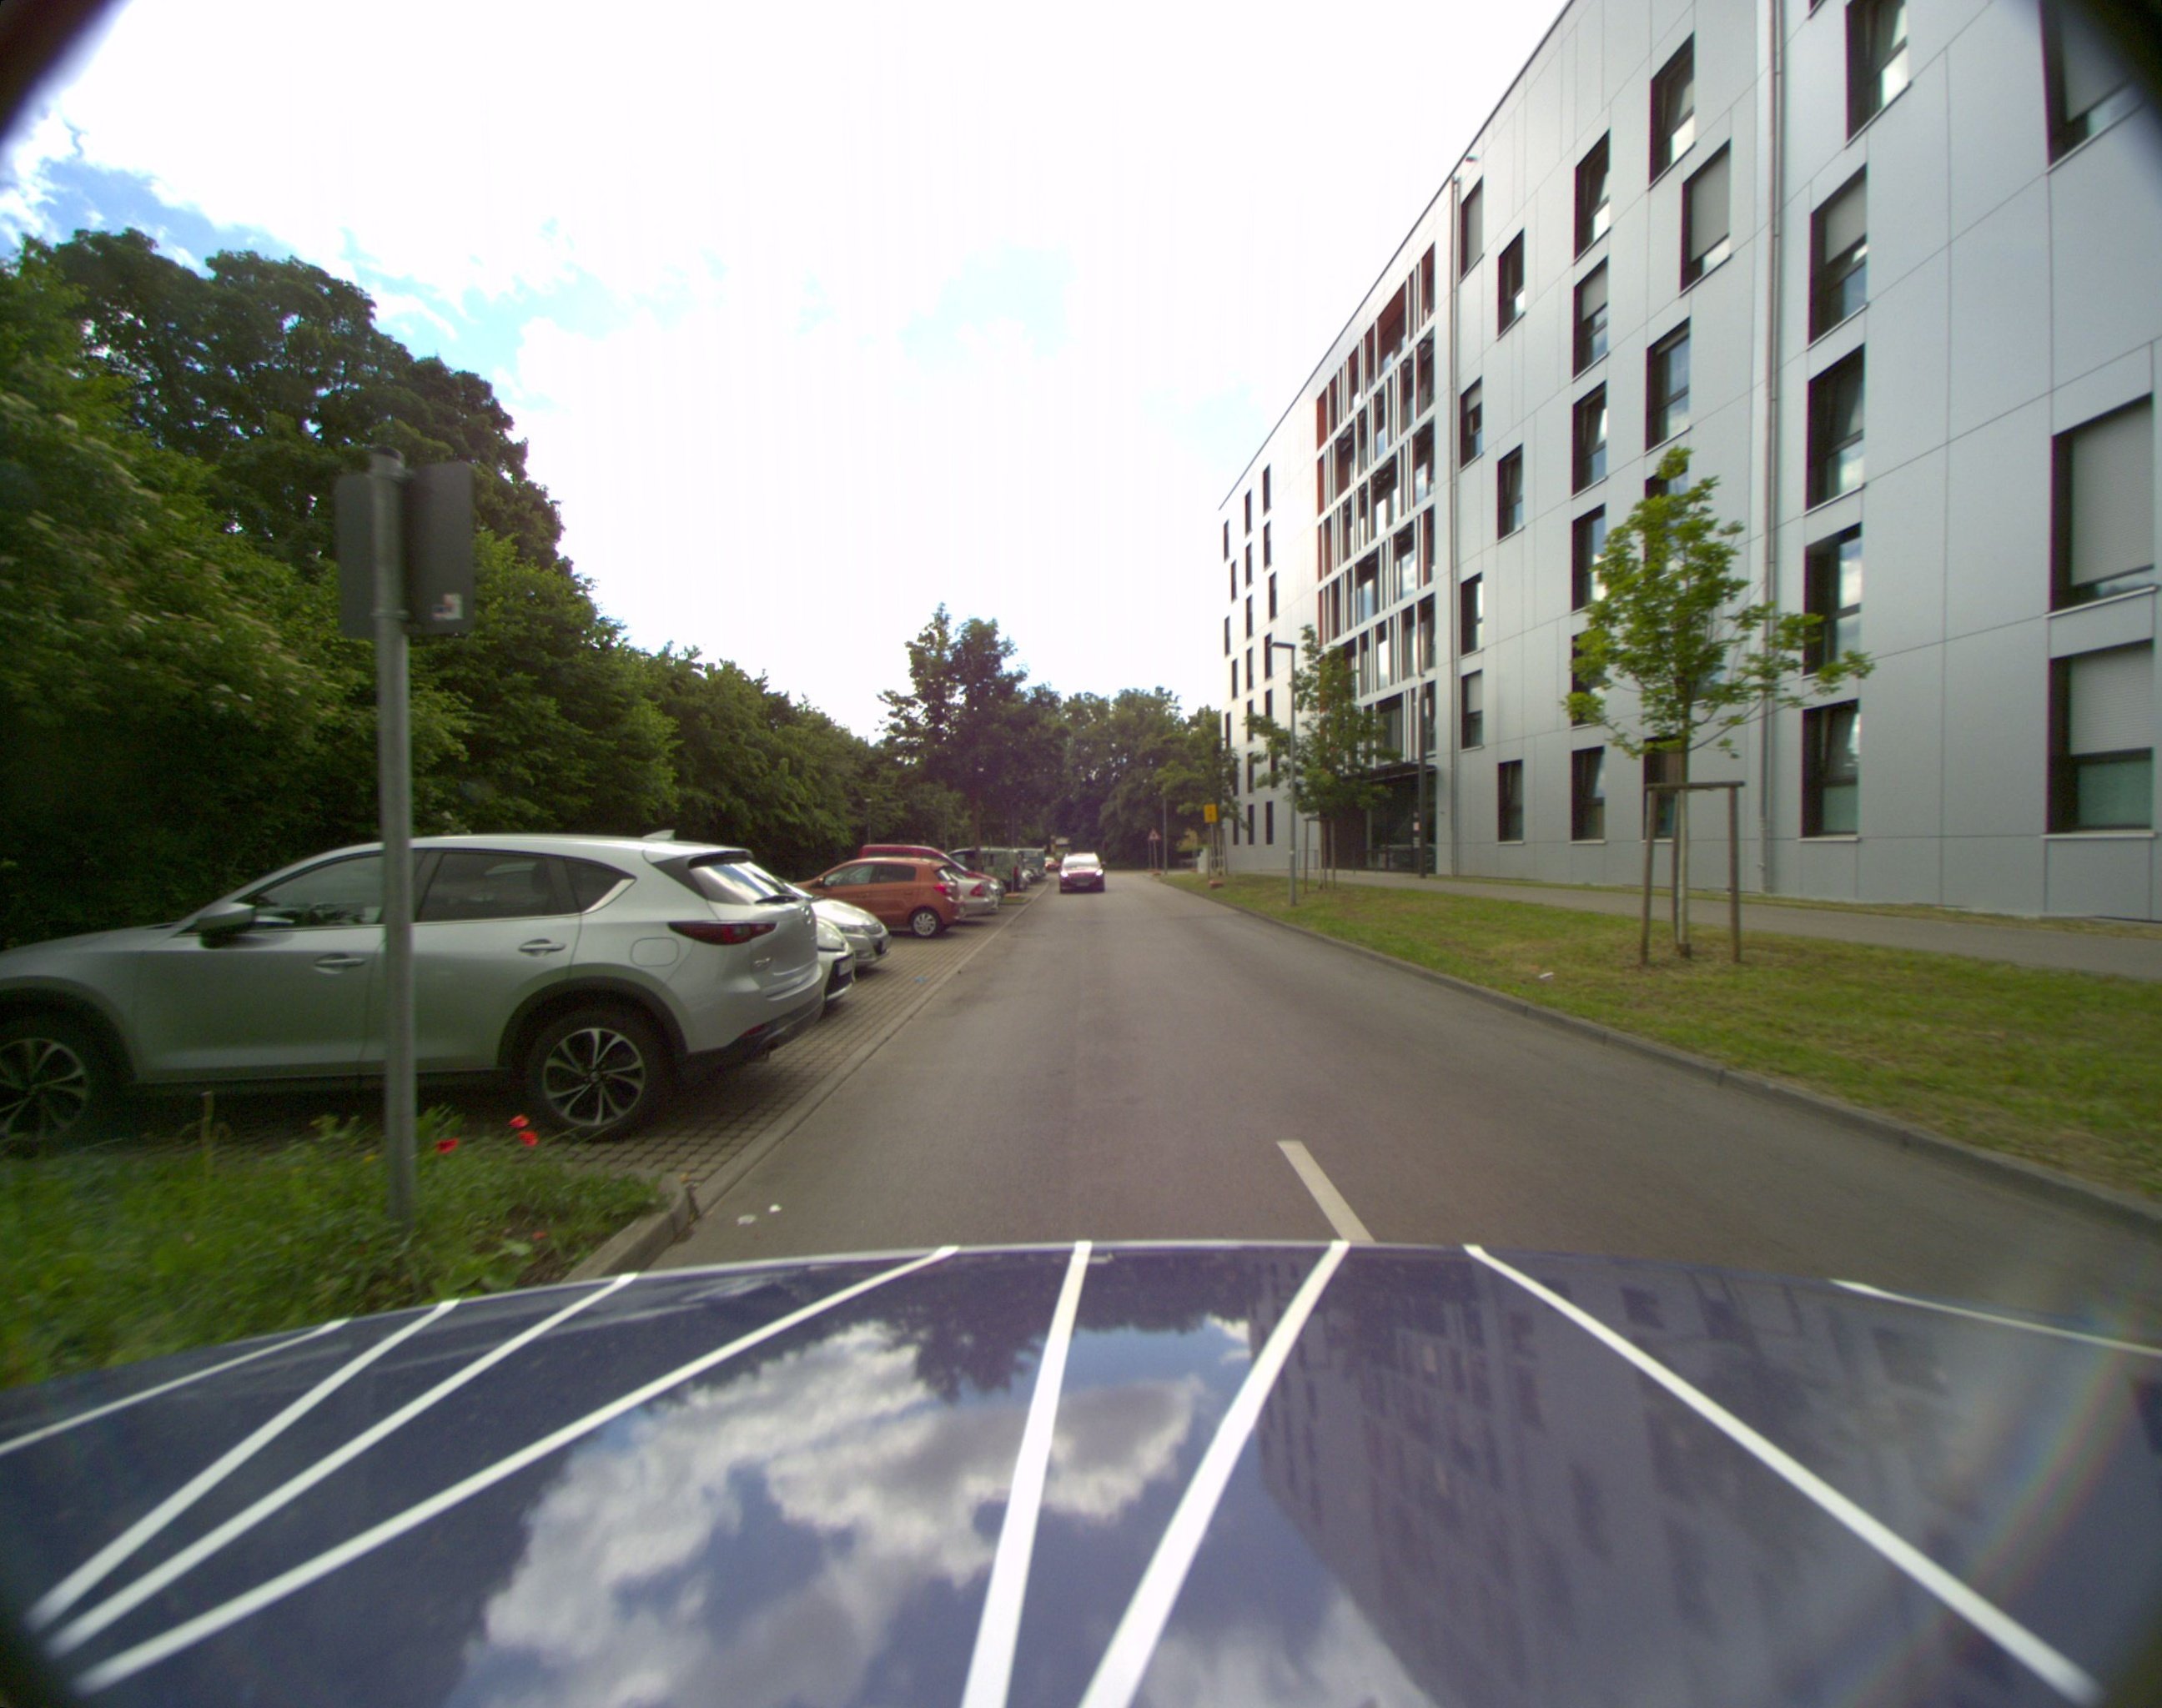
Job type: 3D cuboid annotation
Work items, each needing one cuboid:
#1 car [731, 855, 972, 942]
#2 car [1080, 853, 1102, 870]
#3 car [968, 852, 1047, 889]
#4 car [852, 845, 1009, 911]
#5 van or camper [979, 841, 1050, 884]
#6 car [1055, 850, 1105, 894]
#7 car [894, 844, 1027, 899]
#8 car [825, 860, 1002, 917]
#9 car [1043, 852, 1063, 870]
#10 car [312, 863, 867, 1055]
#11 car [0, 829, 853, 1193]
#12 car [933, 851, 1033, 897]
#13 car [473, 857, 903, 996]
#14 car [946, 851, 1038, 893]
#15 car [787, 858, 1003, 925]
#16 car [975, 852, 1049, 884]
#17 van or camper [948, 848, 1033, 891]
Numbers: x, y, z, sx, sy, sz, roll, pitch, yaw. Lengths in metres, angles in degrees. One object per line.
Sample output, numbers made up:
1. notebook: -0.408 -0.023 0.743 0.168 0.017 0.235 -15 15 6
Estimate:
1. car: -4.352 0.807 14.802 4.157 1.582 1.677 0 1 2
2. car: 0.899 0.680 69.926 1.674 1.383 3.998 -3 1 -4
3. car: -3.878 0.835 40.461 3.979 1.722 1.884 -3 1 -2
4. car: -4.321 0.678 22.405 4.292 1.881 1.837 0 1 -2
5. van or camper: -3.911 0.513 45.319 3.979 2.306 1.883 -3 1 -2
6. car: -0.021 0.709 32.658 1.933 1.622 4.242 -2 1 1
7. car: -4.321 0.612 27.803 4.562 1.888 1.883 1 0 -2
8. car: -4.301 0.876 20.015 4.292 1.401 1.837 0 0 -2
9. car: -2.744 0.671 73.749 1.818 1.608 3.998 0 0 -4
10. car: -4.409 0.896 7.374 4.166 1.577 1.795 0 0 -2
11. car: -4.047 0.771 4.737 4.662 1.742 2.069 1 0 -4
12. car: -4.139 0.820 32.611 3.979 1.722 1.884 -3 1 -2
13. car: -4.753 0.852 9.748 4.489 1.553 1.911 1 0 -2
14. car: -4.067 0.801 35.301 3.979 1.722 1.884 -3 1 -2
15. car: -4.078 0.807 17.198 4.407 1.427 1.944 0 0 0
16. car: -3.844 0.767 43.018 3.979 1.594 2.105 -1 3 -2
17. van or camper: -4.447 0.748 37.853 3.979 1.862 1.728 -3 1 -2
